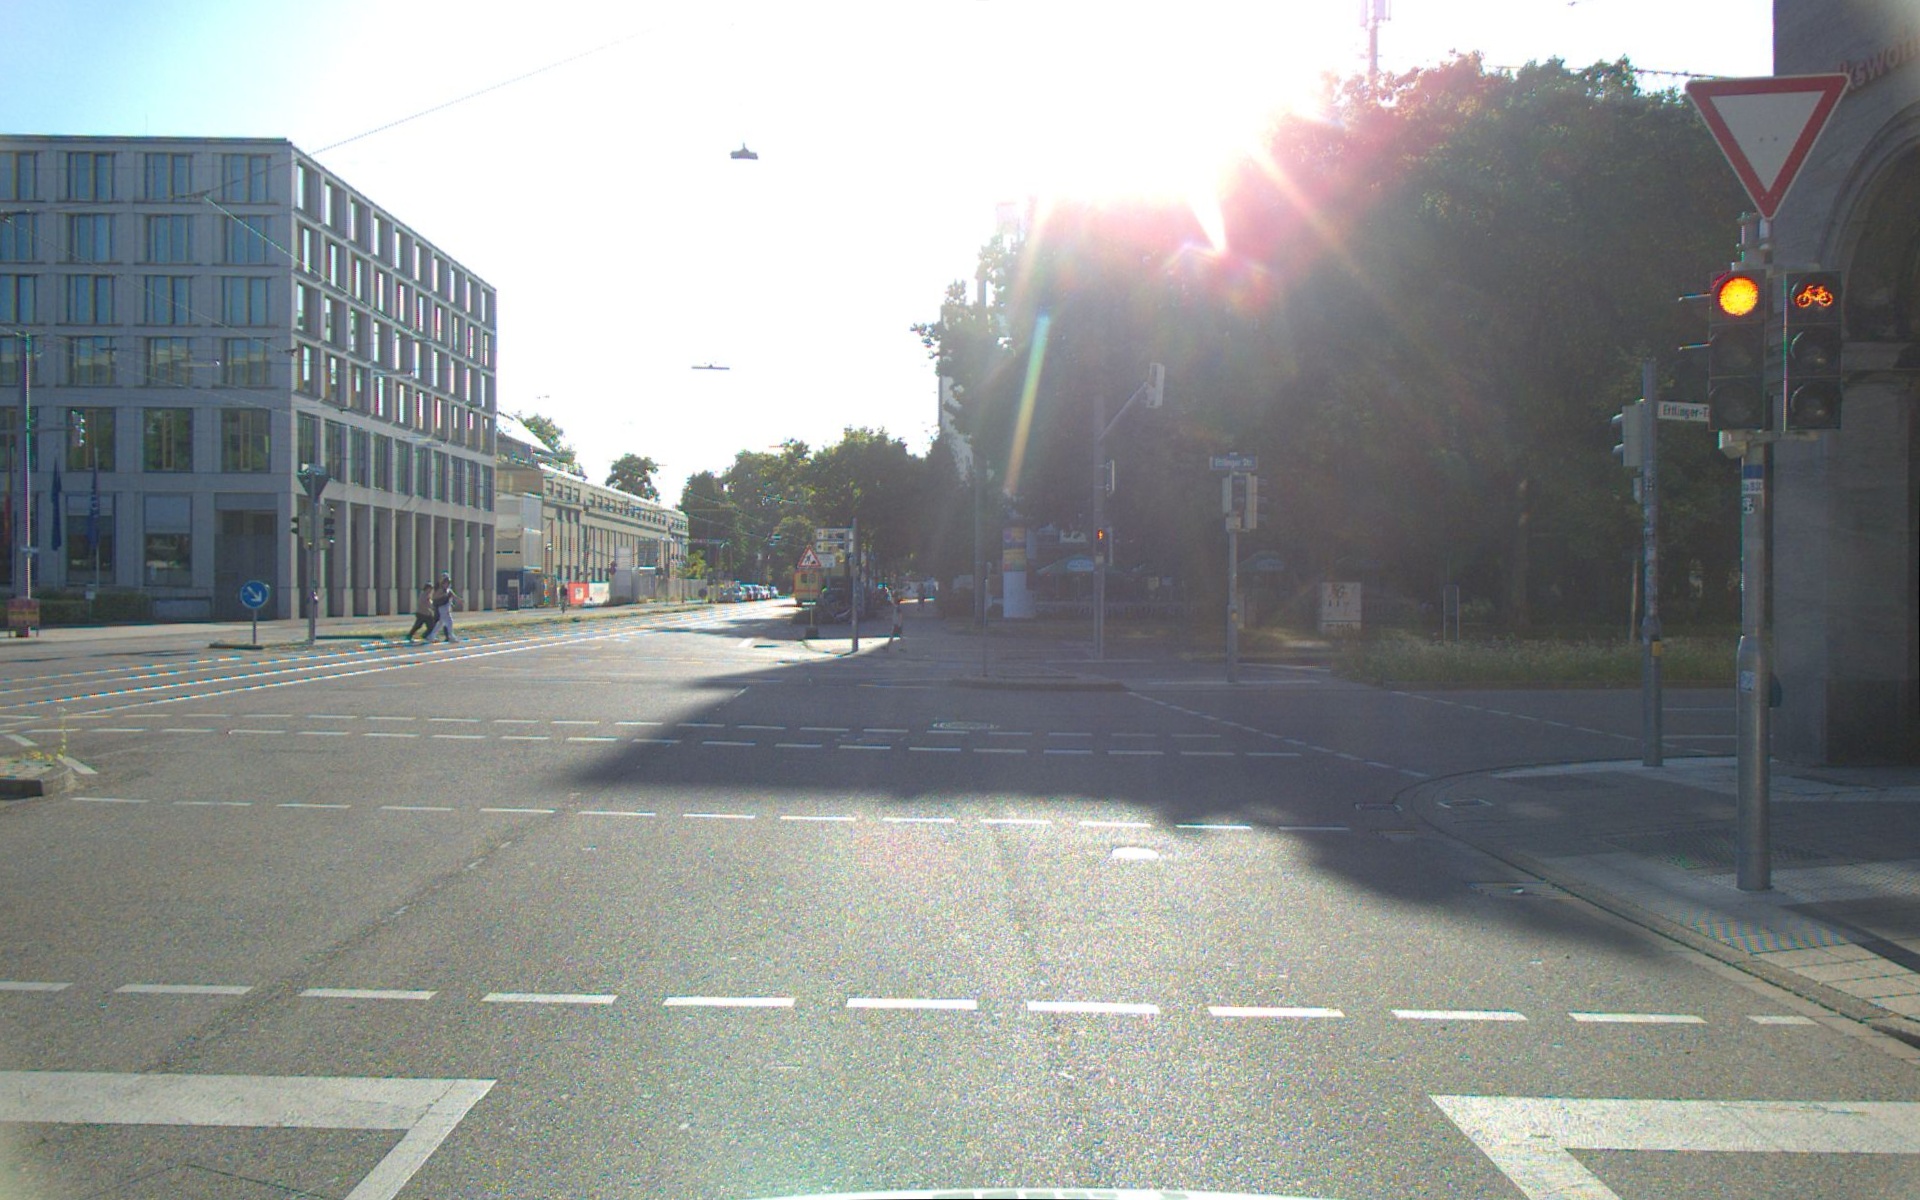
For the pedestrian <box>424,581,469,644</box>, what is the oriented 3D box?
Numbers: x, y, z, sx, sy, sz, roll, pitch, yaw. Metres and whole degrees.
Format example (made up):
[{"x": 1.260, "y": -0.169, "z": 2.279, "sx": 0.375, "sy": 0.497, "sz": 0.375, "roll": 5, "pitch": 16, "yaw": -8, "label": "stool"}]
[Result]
[{"x": -13.344, "y": 0.328, "z": 42.973, "sx": 0.964, "sy": 1.615, "sz": 0.660, "roll": 0, "pitch": -1, "yaw": 1, "label": "pedestrian"}]

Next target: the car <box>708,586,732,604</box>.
[{"x": -22.577, "y": -0.501, "z": 155.819, "sx": 1.695, "sy": 1.682, "sz": 3.999, "roll": 0, "pitch": 0, "yaw": -1, "label": "car"}]

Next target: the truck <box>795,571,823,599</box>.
[{"x": -11.914, "y": -1.183, "z": 130.816, "sx": 1.876, "sy": 2.129, "sz": 3.999, "roll": 0, "pitch": 0, "yaw": -1, "label": "truck"}]

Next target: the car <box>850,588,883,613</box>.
[{"x": -5.164, "y": 0.014, "z": 91.757, "sx": 1.783, "sy": 1.301, "sz": 3.998, "roll": 0, "pitch": 0, "yaw": -3, "label": "car"}]

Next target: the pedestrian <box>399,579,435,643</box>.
[{"x": -14.335, "y": 0.293, "z": 43.676, "sx": 0.779, "sy": 1.668, "sz": 0.533, "roll": 0, "pitch": 0, "yaw": 2, "label": "pedestrian"}]

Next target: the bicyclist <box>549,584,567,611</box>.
[{"x": -24.959, "y": -0.167, "z": 102.683, "sx": 0.857, "sy": 1.670, "sz": 0.822, "roll": 0, "pitch": 0, "yaw": 0, "label": "bicyclist"}]

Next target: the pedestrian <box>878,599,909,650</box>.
[{"x": -1.756, "y": 0.643, "z": 44.049, "sx": 0.736, "sy": 1.356, "sz": 0.743, "roll": 0, "pitch": 0, "yaw": 4, "label": "pedestrian"}]

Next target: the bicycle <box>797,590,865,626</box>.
[{"x": -5.227, "y": 0.328, "z": 67.051, "sx": 2.688, "sy": 1.391, "sz": 0.631, "roll": 1, "pitch": -1, "yaw": 10, "label": "bicycle"}]

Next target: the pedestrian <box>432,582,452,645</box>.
[{"x": -13.987, "y": 0.363, "z": 44.682, "sx": 0.432, "sy": 1.692, "sz": 0.376, "roll": 0, "pitch": 0, "yaw": -2, "label": "pedestrian"}]

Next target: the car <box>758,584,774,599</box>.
[{"x": -22.650, "y": -0.974, "z": 193.601, "sx": 1.453, "sy": 1.780, "sz": 3.999, "roll": 0, "pitch": 0, "yaw": -1, "label": "car"}]
